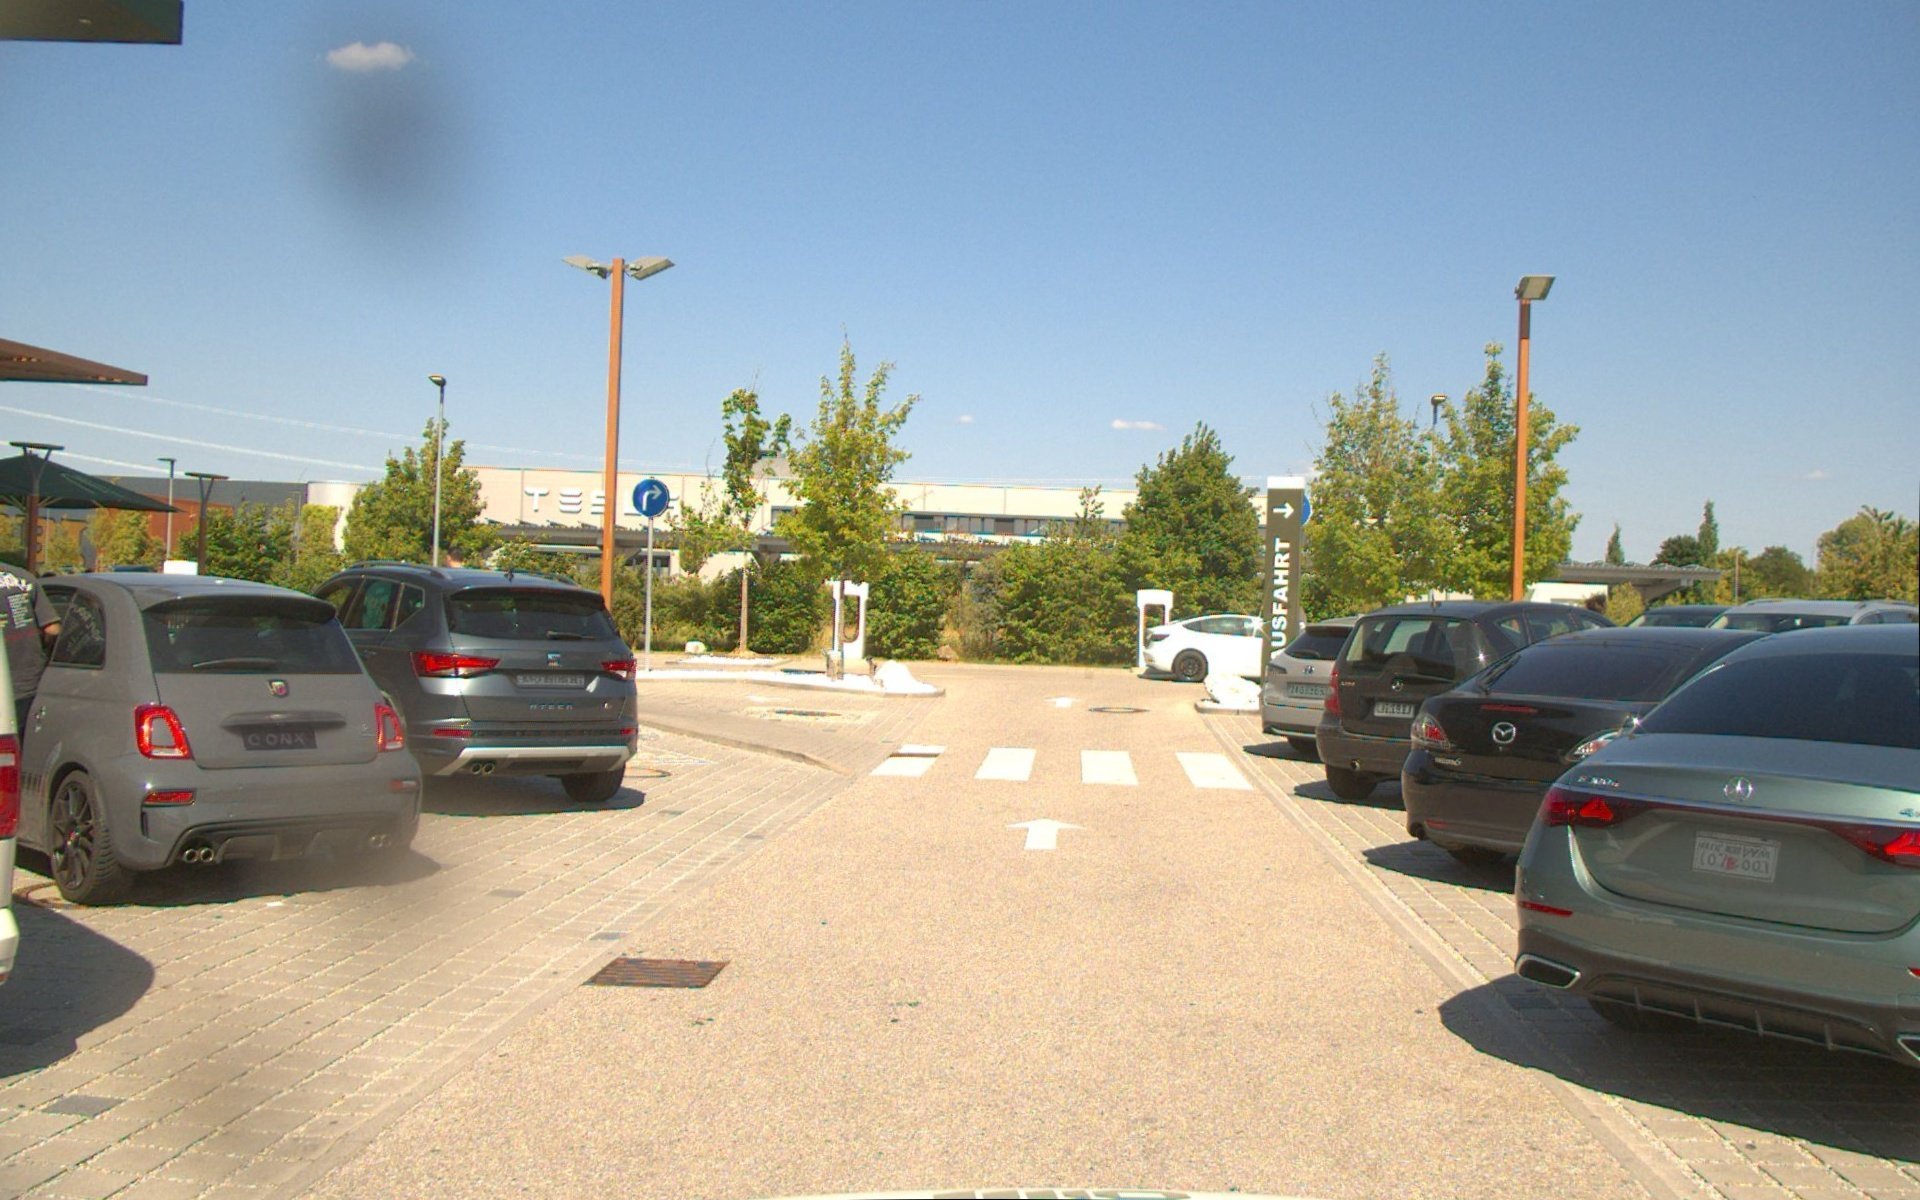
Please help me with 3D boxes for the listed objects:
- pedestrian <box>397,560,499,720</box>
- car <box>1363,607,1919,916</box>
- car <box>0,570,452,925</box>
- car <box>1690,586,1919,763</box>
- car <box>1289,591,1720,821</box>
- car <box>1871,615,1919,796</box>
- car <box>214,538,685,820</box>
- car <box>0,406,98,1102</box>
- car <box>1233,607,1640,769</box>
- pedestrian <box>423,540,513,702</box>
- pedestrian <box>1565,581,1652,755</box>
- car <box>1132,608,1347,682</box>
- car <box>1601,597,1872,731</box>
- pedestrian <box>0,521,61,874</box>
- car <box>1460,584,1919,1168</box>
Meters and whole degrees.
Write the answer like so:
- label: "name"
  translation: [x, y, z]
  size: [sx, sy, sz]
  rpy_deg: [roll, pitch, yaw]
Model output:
- label: "pedestrian"
  translation: [-5.329, 0.408, 17.244]
  size: [0.711, 1.611, 0.742]
  rpy_deg: [1, 0, 14]
- label: "car"
  translation: [4.446, 0.832, 10.034]
  size: [4.034, 1.474, 1.804]
  rpy_deg: [2, 0, -38]
- label: "car"
  translation: [-4.315, 0.622, 8.854]
  size: [3.355, 1.508, 1.558]
  rpy_deg: [2, 0, 43]
- label: "car"
  translation: [9.550, 0.723, 17.718]
  size: [4.033, 1.668, 1.721]
  rpy_deg: [1, 0, -43]
- label: "car"
  translation: [4.647, 0.791, 13.827]
  size: [3.969, 1.621, 1.783]
  rpy_deg: [2, 0, -44]
- label: "car"
  translation: [9.465, 0.867, 14.083]
  size: [4.046, 1.432, 1.766]
  rpy_deg: [1, 0, -42]
- label: "car"
  translation: [-3.945, 0.446, 12.331]
  size: [1.775, 1.631, 4.164]
  rpy_deg: [1, 2, -42]
- label: "car"
  translation: [-4.627, 0.389, 5.518]
  size: [4.071, 1.955, 1.748]
  rpy_deg: [1, 0, 42]
- label: "car"
  translation: [5.123, 0.833, 17.457]
  size: [4.615, 1.472, 1.811]
  rpy_deg: [1, 0, -39]
- label: "pedestrian"
  translation: [-5.669, 0.236, 19.096]
  size: [0.785, 1.799, 0.896]
  rpy_deg: [1, 0, -5]
- label: "pedestrian"
  translation: [6.637, 0.681, 16.932]
  size: [0.556, 1.743, 0.604]
  rpy_deg: [1, 0, -33]
- label: "car"
  translation: [5.844, 0.933, 34.967]
  size: [4.340, 1.401, 1.824]
  rpy_deg: [1, 0, 7]
- label: "car"
  translation: [10.240, 0.770, 21.687]
  size: [4.158, 1.563, 1.866]
  rpy_deg: [1, 0, -44]
- label: "pedestrian"
  translation: [-4.834, 0.470, 8.145]
  size: [0.608, 1.714, 0.437]
  rpy_deg: [2, -1, -42]
- label: "car"
  translation: [3.963, 0.775, 6.219]
  size: [4.500, 1.537, 1.860]
  rpy_deg: [2, 0, -41]
